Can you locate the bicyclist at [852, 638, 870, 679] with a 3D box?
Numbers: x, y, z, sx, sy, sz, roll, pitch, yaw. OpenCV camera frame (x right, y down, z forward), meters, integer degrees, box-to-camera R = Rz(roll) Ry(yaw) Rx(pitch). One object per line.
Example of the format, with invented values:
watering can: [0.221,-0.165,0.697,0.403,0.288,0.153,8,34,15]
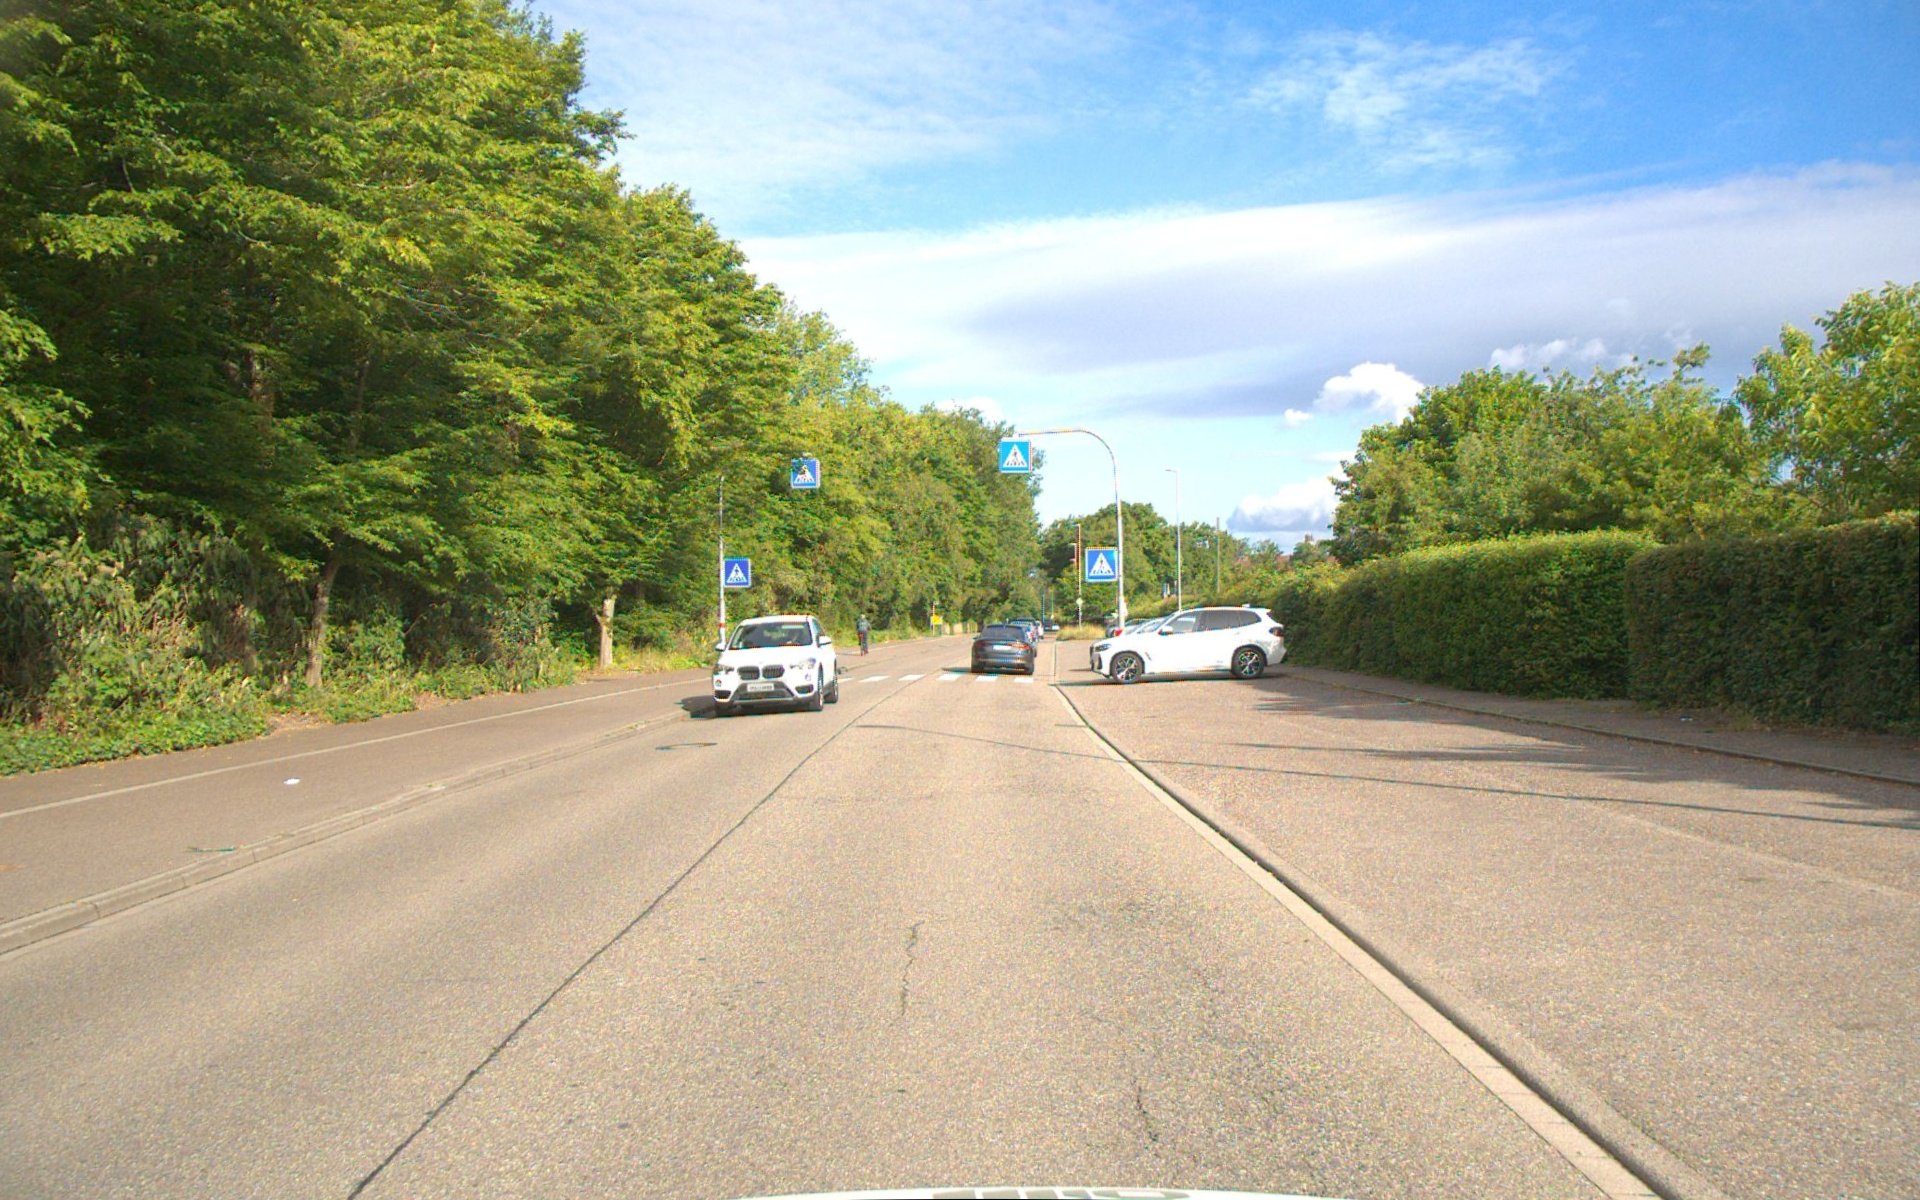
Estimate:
bicyclist: [-4.139,2.441,69.139,0.596,1.706,0.884,1,-2,4]

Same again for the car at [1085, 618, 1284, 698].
car: [5.213,1.371,38.880,4.491,1.729,1.764,-2,-2,3]

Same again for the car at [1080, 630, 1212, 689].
car: [5.575,1.772,49.954,3.778,1.516,1.692,-3,-1,1]

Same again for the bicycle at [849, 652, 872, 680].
bicycle: [-4.149,2.751,69.174,0.648,1.116,2.349,2,-2,4]

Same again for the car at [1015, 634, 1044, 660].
car: [3.646,2.463,86.379,1.464,1.327,3.263,-1,-2,3]

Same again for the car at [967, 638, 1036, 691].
car: [1.227,1.877,48.738,1.925,1.460,4.336,1,-2,1]

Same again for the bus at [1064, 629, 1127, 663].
bus: [11.812,4.013,144.291,5.255,2.795,2.068,-1,-1,0]

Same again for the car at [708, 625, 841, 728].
car: [-3.136,1.309,28.690,1.765,1.613,4.101,-1,-2,1]

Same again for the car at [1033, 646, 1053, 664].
car: [6.745,4.474,134.525,1.463,1.390,3.264,-1,-2,6]

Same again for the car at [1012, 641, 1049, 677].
car: [2.871,2.393,67.660,1.464,1.390,3.262,-1,-1,2]

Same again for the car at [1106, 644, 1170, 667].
car: [12.314,3.864,114.330,4.269,1.468,1.934,-2,-3,10]
